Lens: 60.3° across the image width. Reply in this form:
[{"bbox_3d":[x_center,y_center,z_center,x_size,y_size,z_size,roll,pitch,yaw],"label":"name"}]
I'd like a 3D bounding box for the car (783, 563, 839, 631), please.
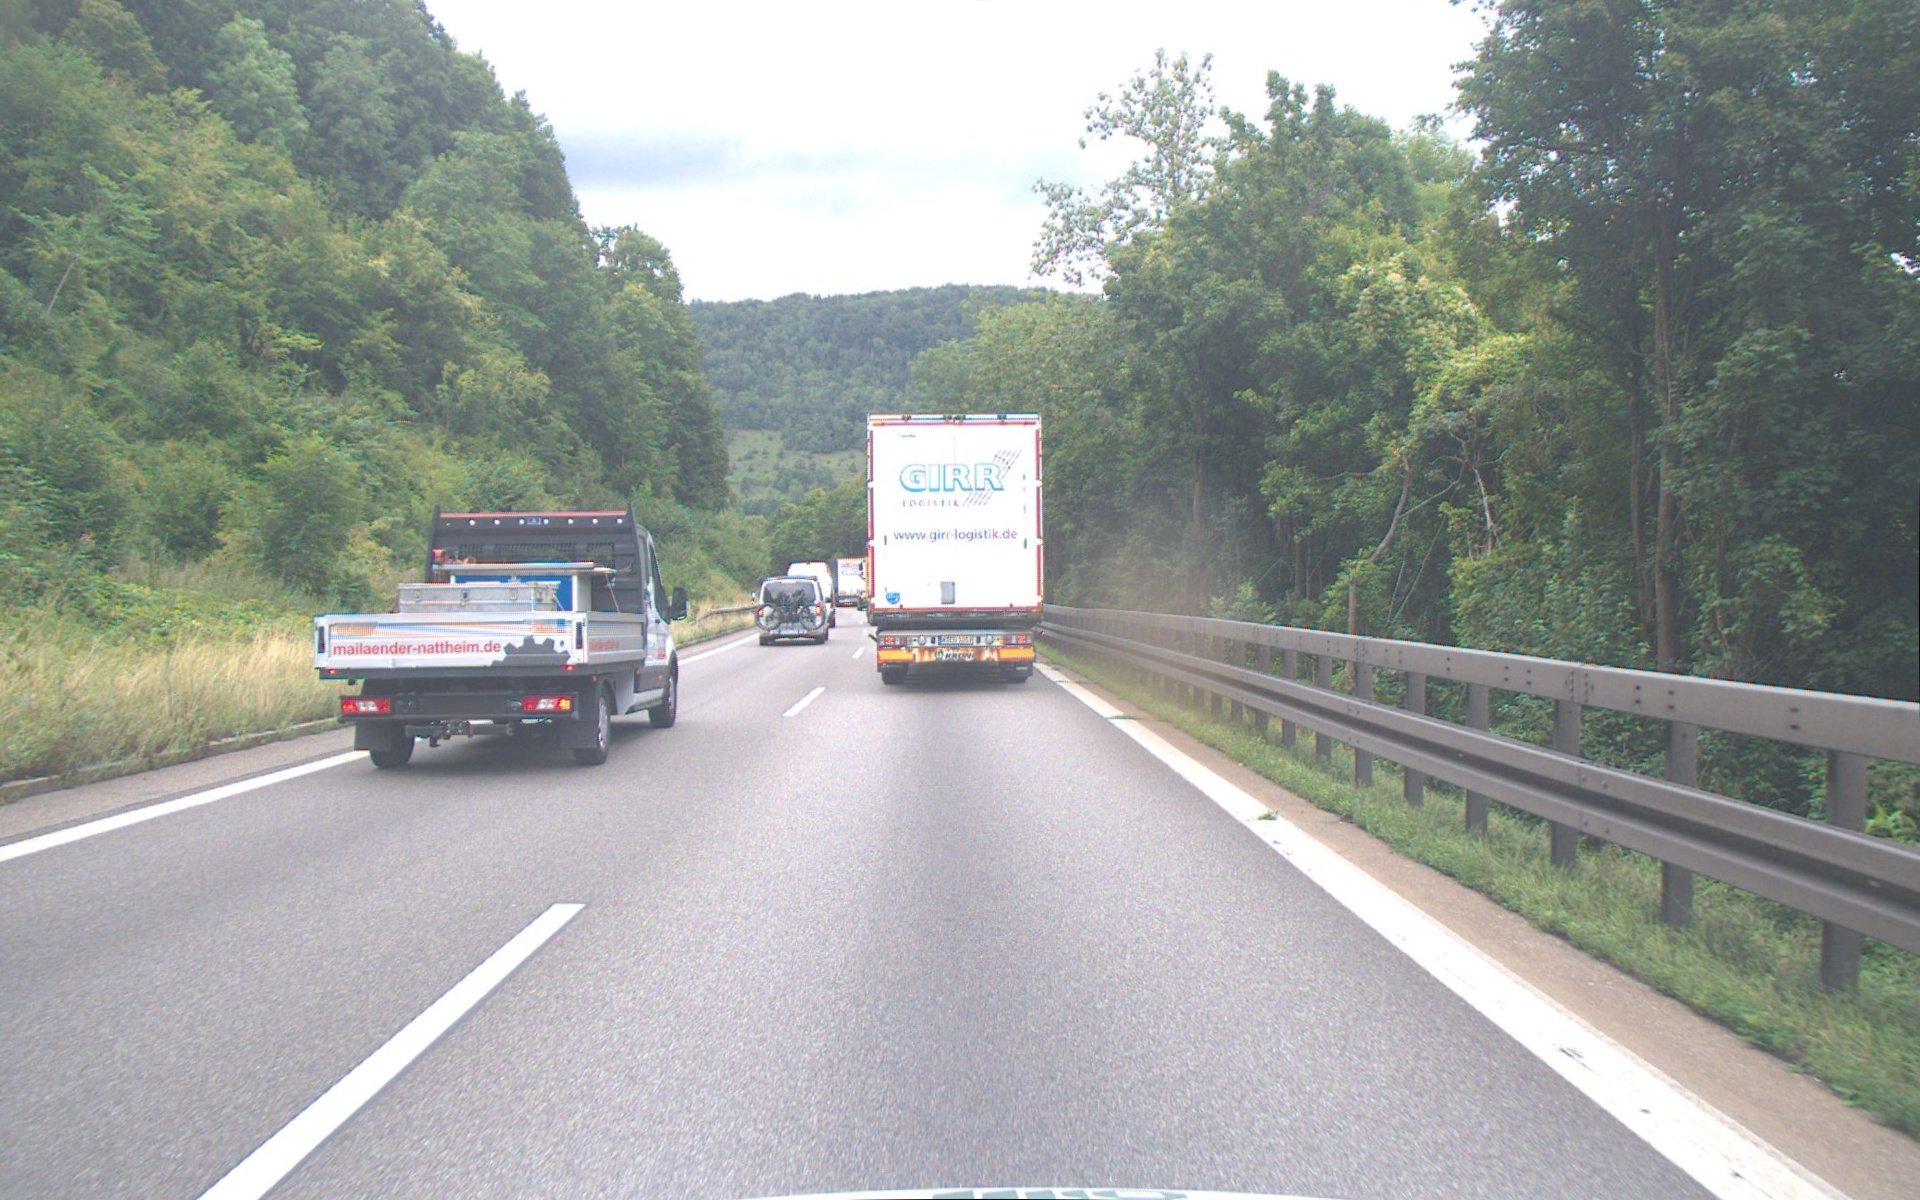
[{"bbox_3d":[-6.099,-0.117,68.118,2.082,2.644,5.559,-1,0,-4],"label":"car"}]

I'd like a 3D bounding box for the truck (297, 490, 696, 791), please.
[{"bbox_3d":[-4.117,0.303,16.190,2.302,2.313,6.845,0,0,-3],"label":"truck"}]

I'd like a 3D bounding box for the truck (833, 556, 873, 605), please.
[{"bbox_3d":[-8.978,-1.565,138.466,3.010,3.945,8.447,0,0,-6],"label":"truck"}]

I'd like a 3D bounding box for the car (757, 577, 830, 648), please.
[{"bbox_3d":[-4.811,0.328,48.385,1.978,1.948,5.558,0,0,-4],"label":"car"}]

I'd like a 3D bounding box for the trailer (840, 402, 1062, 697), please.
[{"bbox_3d":[-0.153,-0.735,28.118,3.069,4.113,9.438,1,0,0],"label":"trailer"}]

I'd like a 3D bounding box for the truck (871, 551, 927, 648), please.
[{"bbox_3d":[-2.559,0.000,69.128,2.189,3.870,6.819,0,0,-2],"label":"truck"}]
